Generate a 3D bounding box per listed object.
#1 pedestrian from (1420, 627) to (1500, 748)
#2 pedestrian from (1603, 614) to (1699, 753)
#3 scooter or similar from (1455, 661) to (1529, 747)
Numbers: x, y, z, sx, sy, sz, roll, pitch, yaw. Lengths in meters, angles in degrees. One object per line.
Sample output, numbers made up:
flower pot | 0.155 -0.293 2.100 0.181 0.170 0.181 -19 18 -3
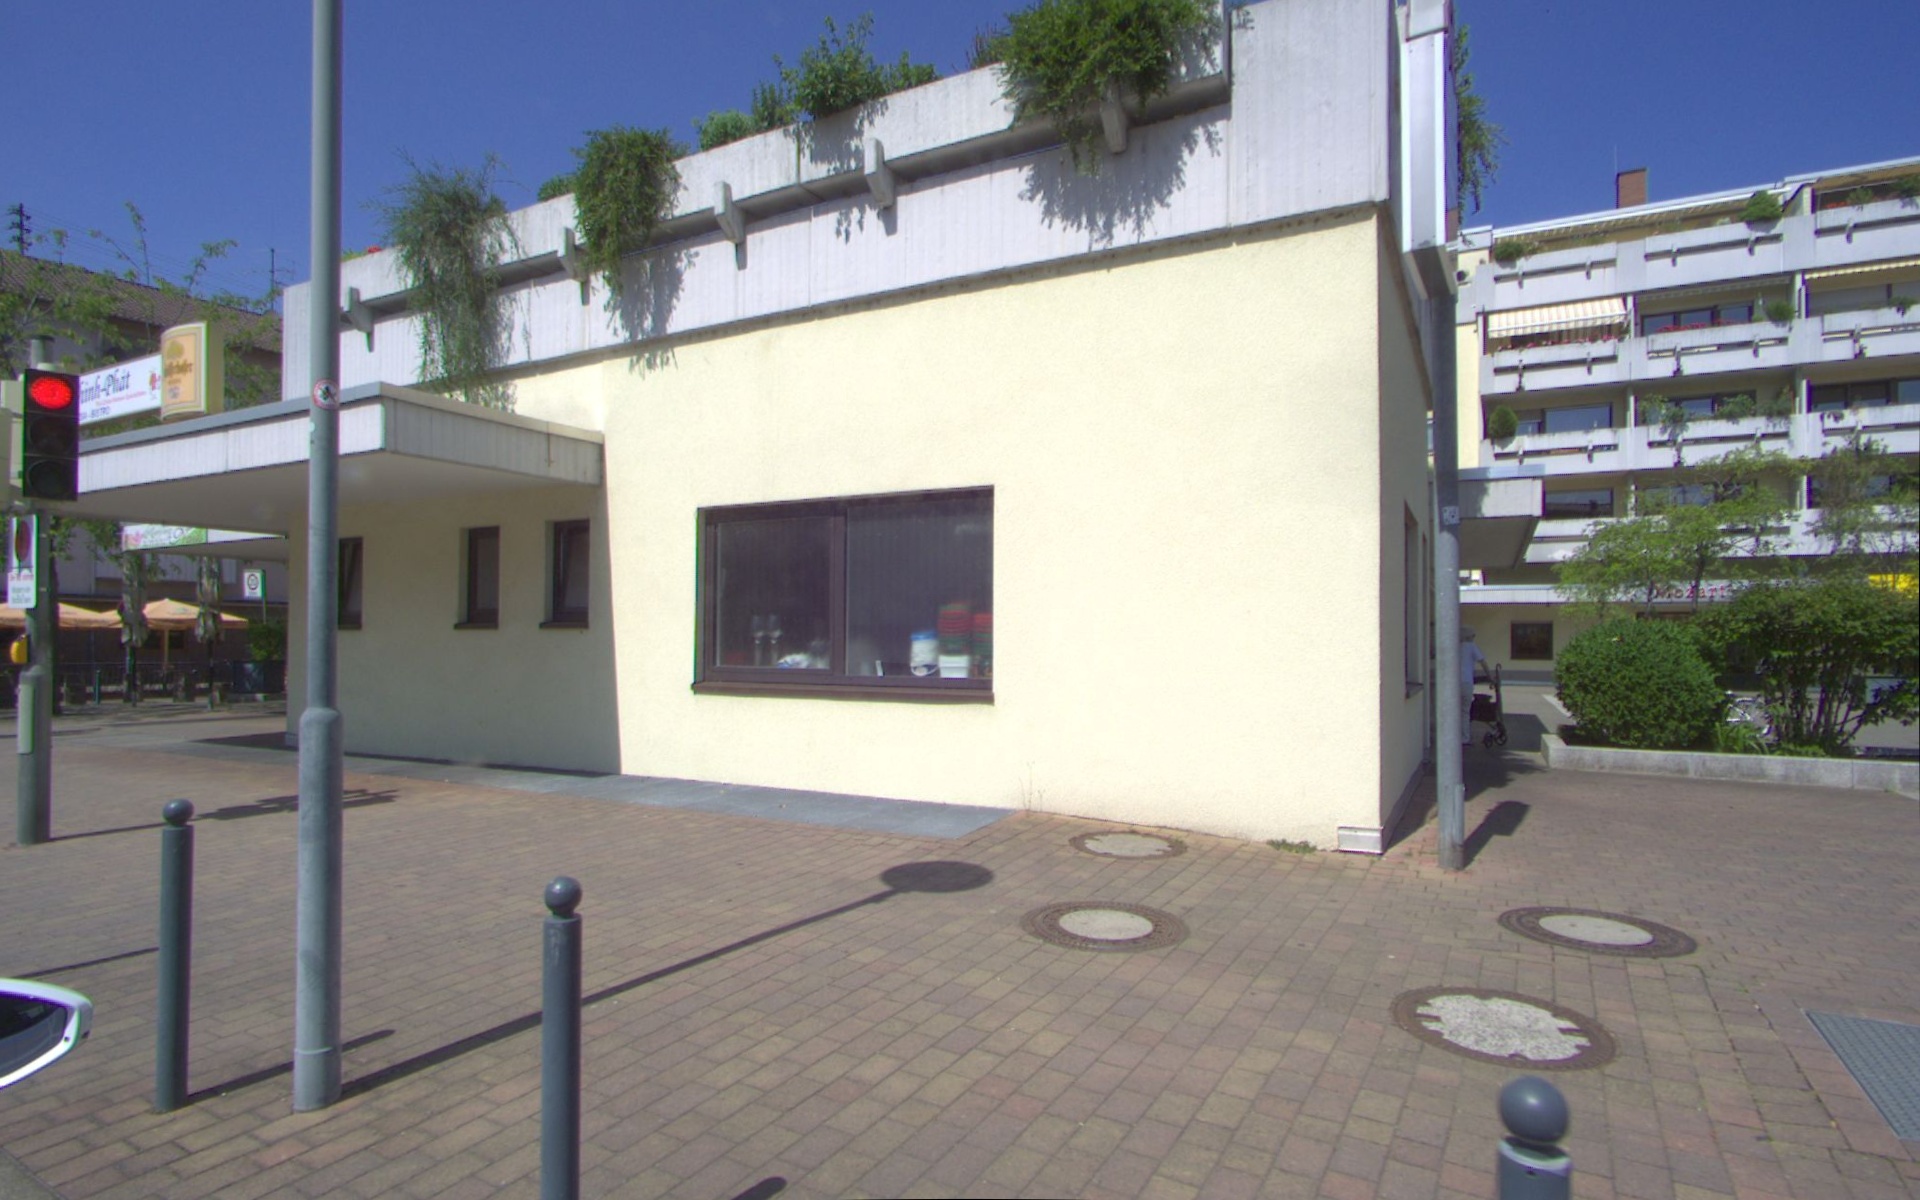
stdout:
pedestrian | 6.470 1.109 12.955 0.801 1.516 0.615 1 -2 -35
pedestrian | 9.054 1.070 13.158 0.887 1.758 0.703 0 -2 22
scooter or similar | 7.125 1.371 13.408 0.795 1.088 0.587 2 -2 -35
